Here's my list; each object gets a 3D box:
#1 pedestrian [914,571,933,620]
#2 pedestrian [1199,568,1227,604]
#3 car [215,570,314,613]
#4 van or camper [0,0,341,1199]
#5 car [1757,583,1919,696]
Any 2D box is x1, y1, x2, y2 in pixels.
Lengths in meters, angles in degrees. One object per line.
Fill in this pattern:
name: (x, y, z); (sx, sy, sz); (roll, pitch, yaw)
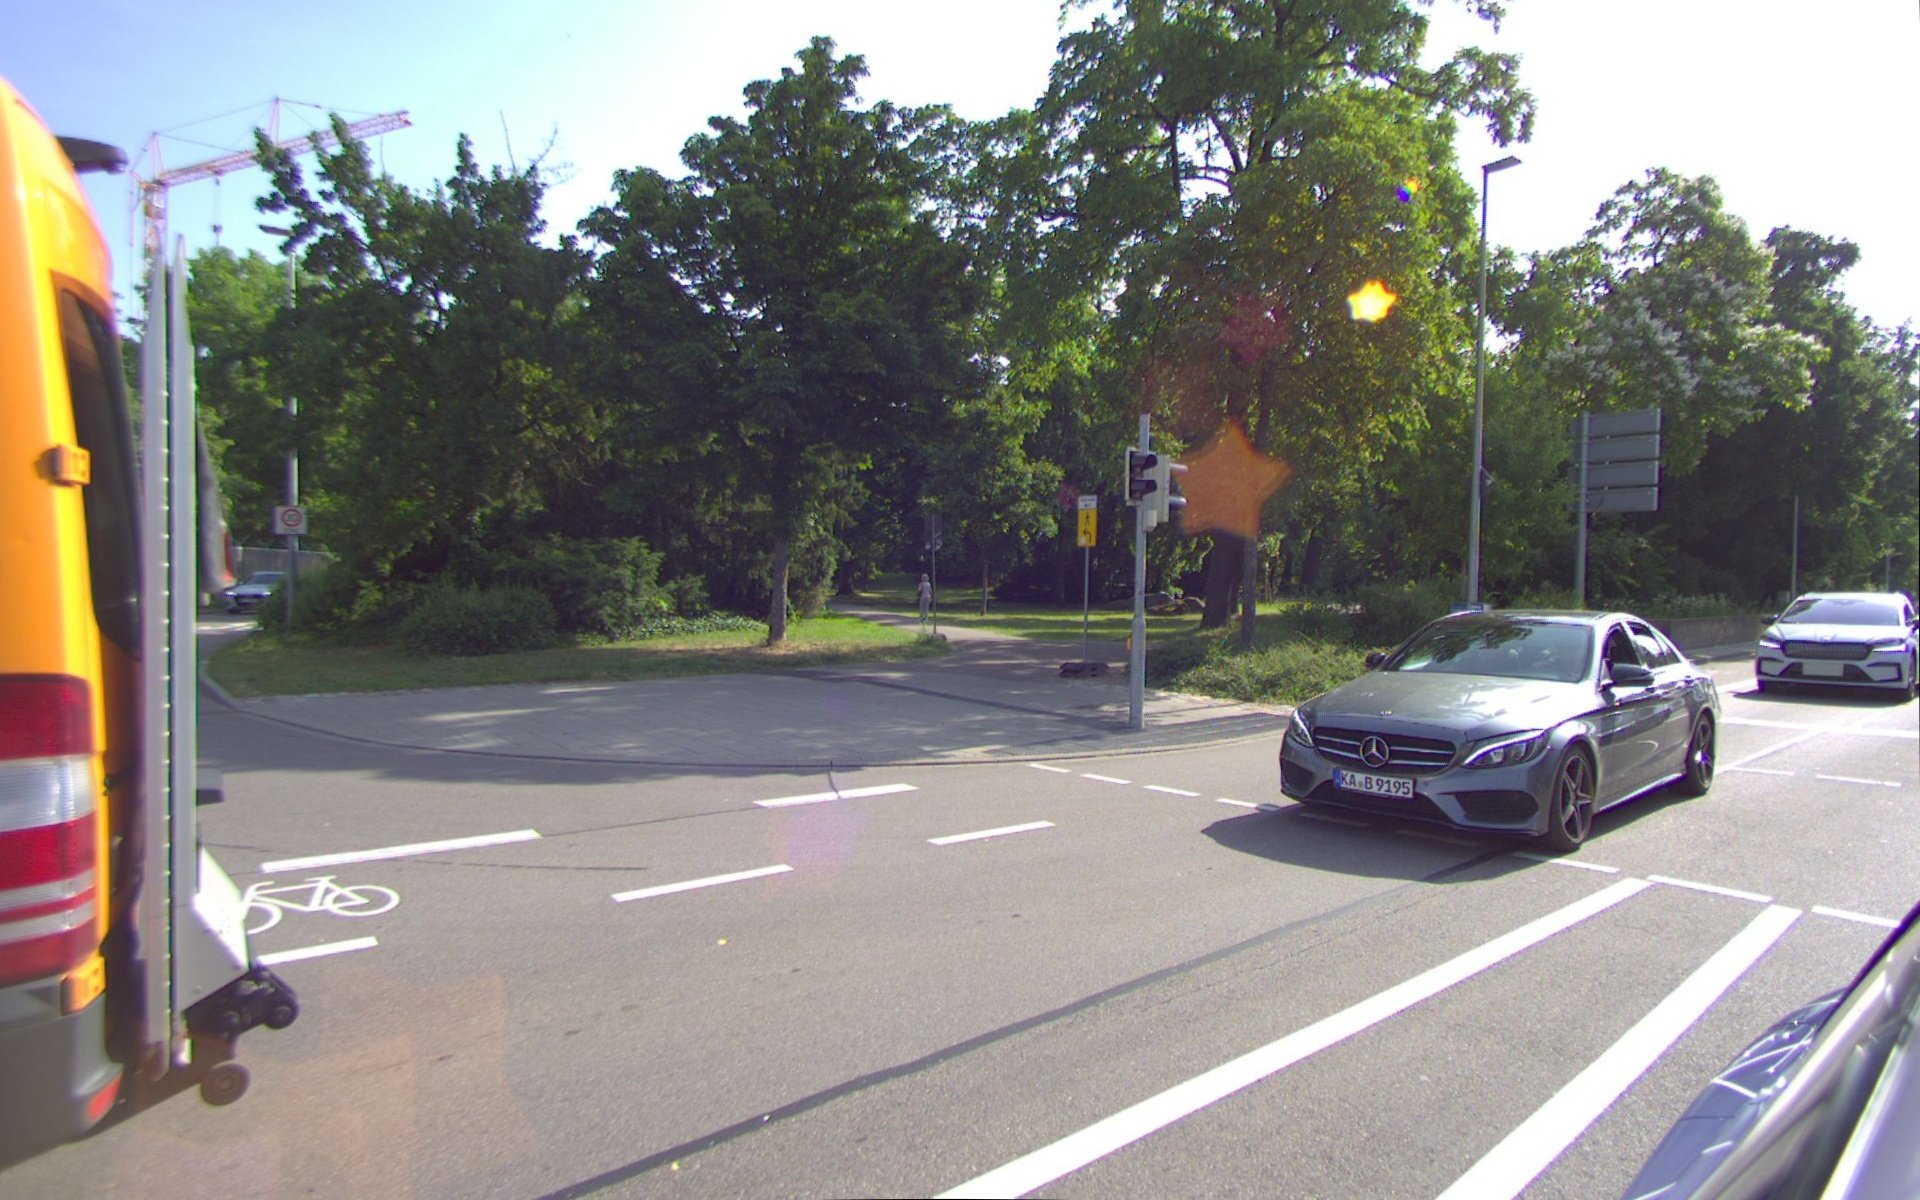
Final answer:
pedestrian: (-1.187, -0.150, 32.529); (0.523, 1.536, 0.671); (1, 1, -9)
pedestrian: (13.093, -0.717, 52.341); (1.048, 1.853, 0.987); (0, 1, -11)
car: (-24.158, -0.334, 35.317); (1.724, 1.415, 3.930); (0, 2, -16)
van or camper: (-4.226, 0.086, 1.045); (5.950, 2.503, 1.991); (0, 1, -38)
car: (14.519, 0.528, 16.288); (4.176, 1.590, 1.896); (-1, 1, -41)
